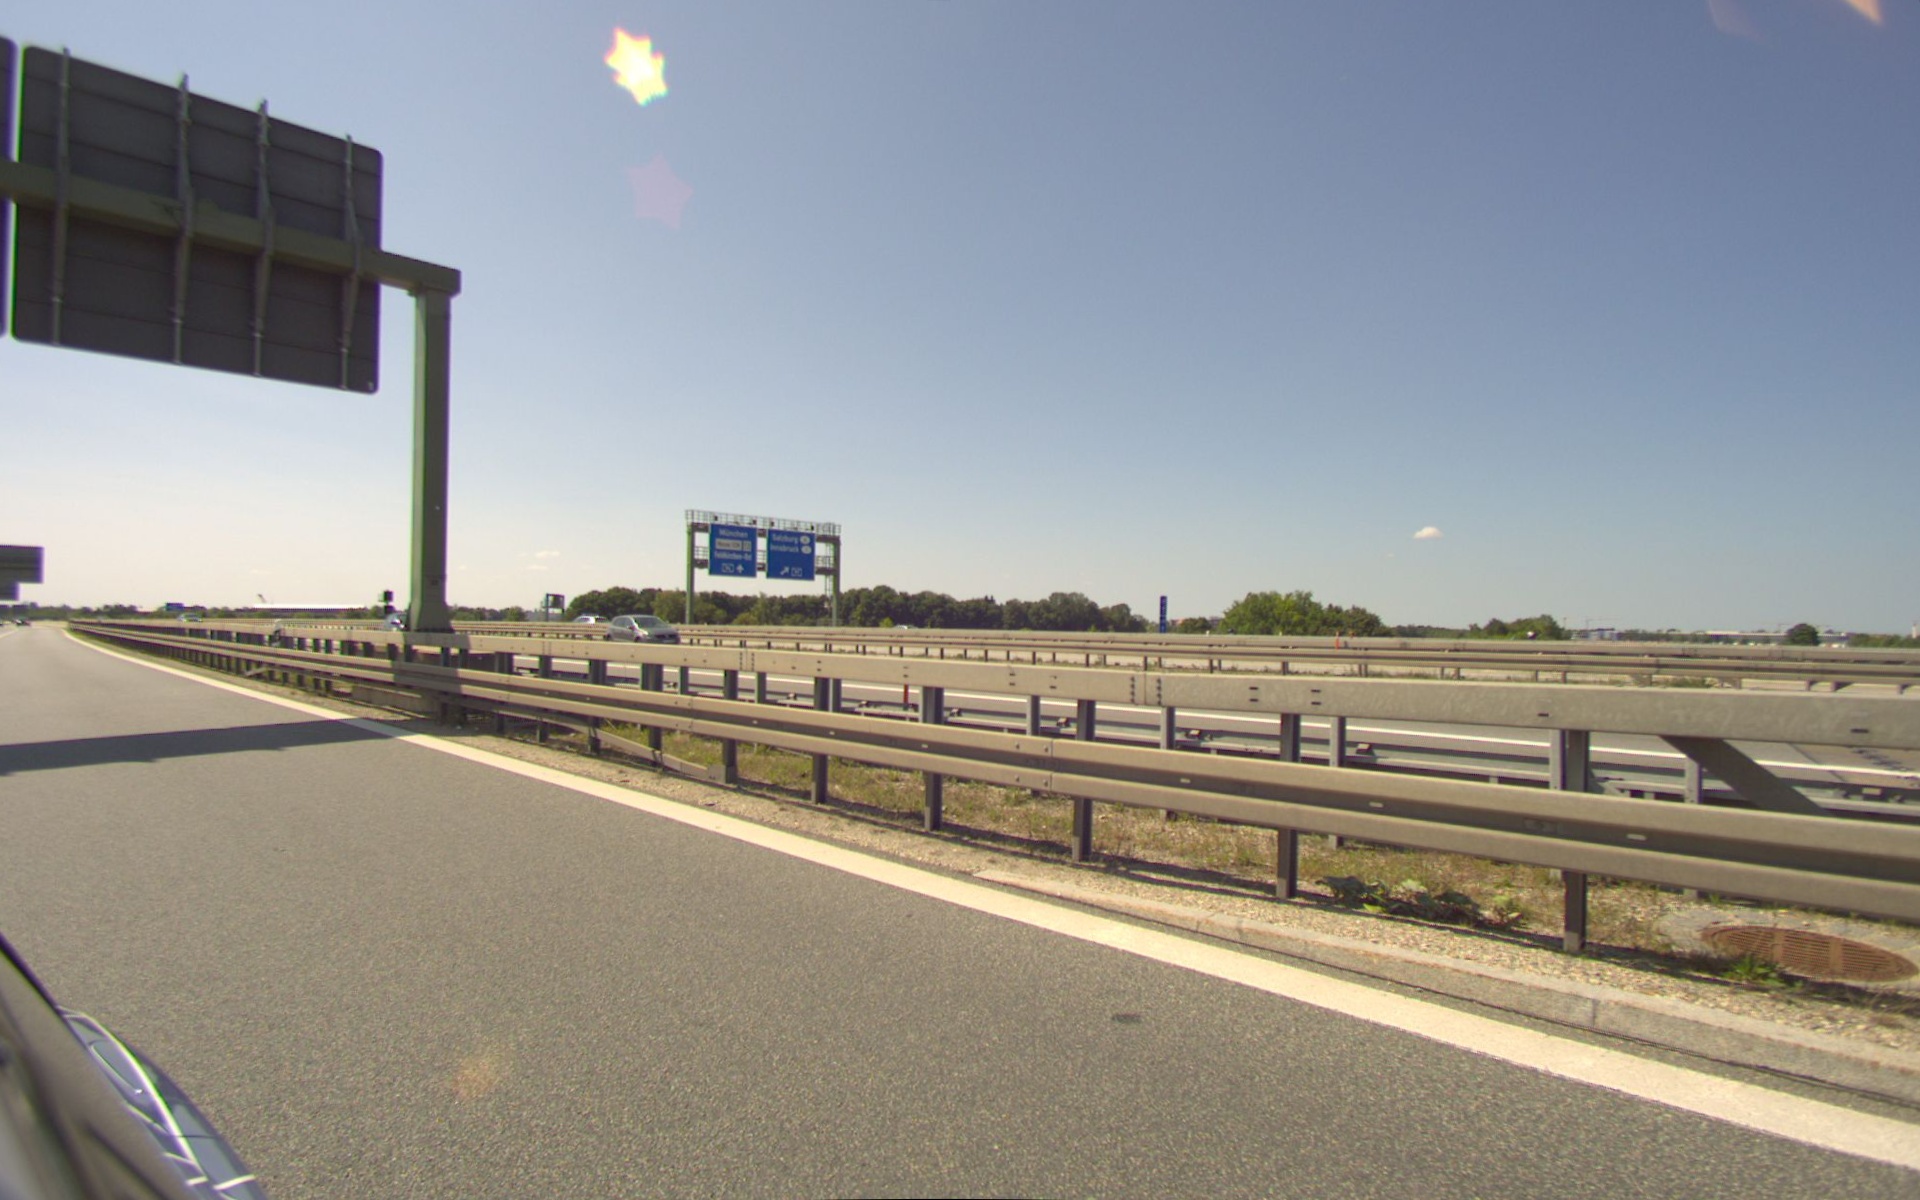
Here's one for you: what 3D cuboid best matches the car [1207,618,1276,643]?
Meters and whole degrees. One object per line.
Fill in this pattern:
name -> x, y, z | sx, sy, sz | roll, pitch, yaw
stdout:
car -> 15.618, 1.708, 56.166 | 3.344, 1.364, 1.560 | -2, -3, 44

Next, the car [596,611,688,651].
car -> -12.611, 1.191, 40.014 | 1.742, 1.433, 4.219 | 0, 0, -45

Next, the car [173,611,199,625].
car -> -89.597, 2.094, 117.168 | 1.817, 1.529, 4.578 | 1, 0, -45

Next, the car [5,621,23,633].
car -> -146.121, 4.179, 156.364 | 1.970, 1.767, 4.004 | 0, 0, -44

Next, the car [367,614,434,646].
car -> -27.639, 1.448, 49.963 | 4.219, 1.443, 1.809 | 0, 0, 45

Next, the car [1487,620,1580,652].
car -> 25.437, 1.581, 44.931 | 3.345, 1.364, 1.560 | -1, -2, 44
